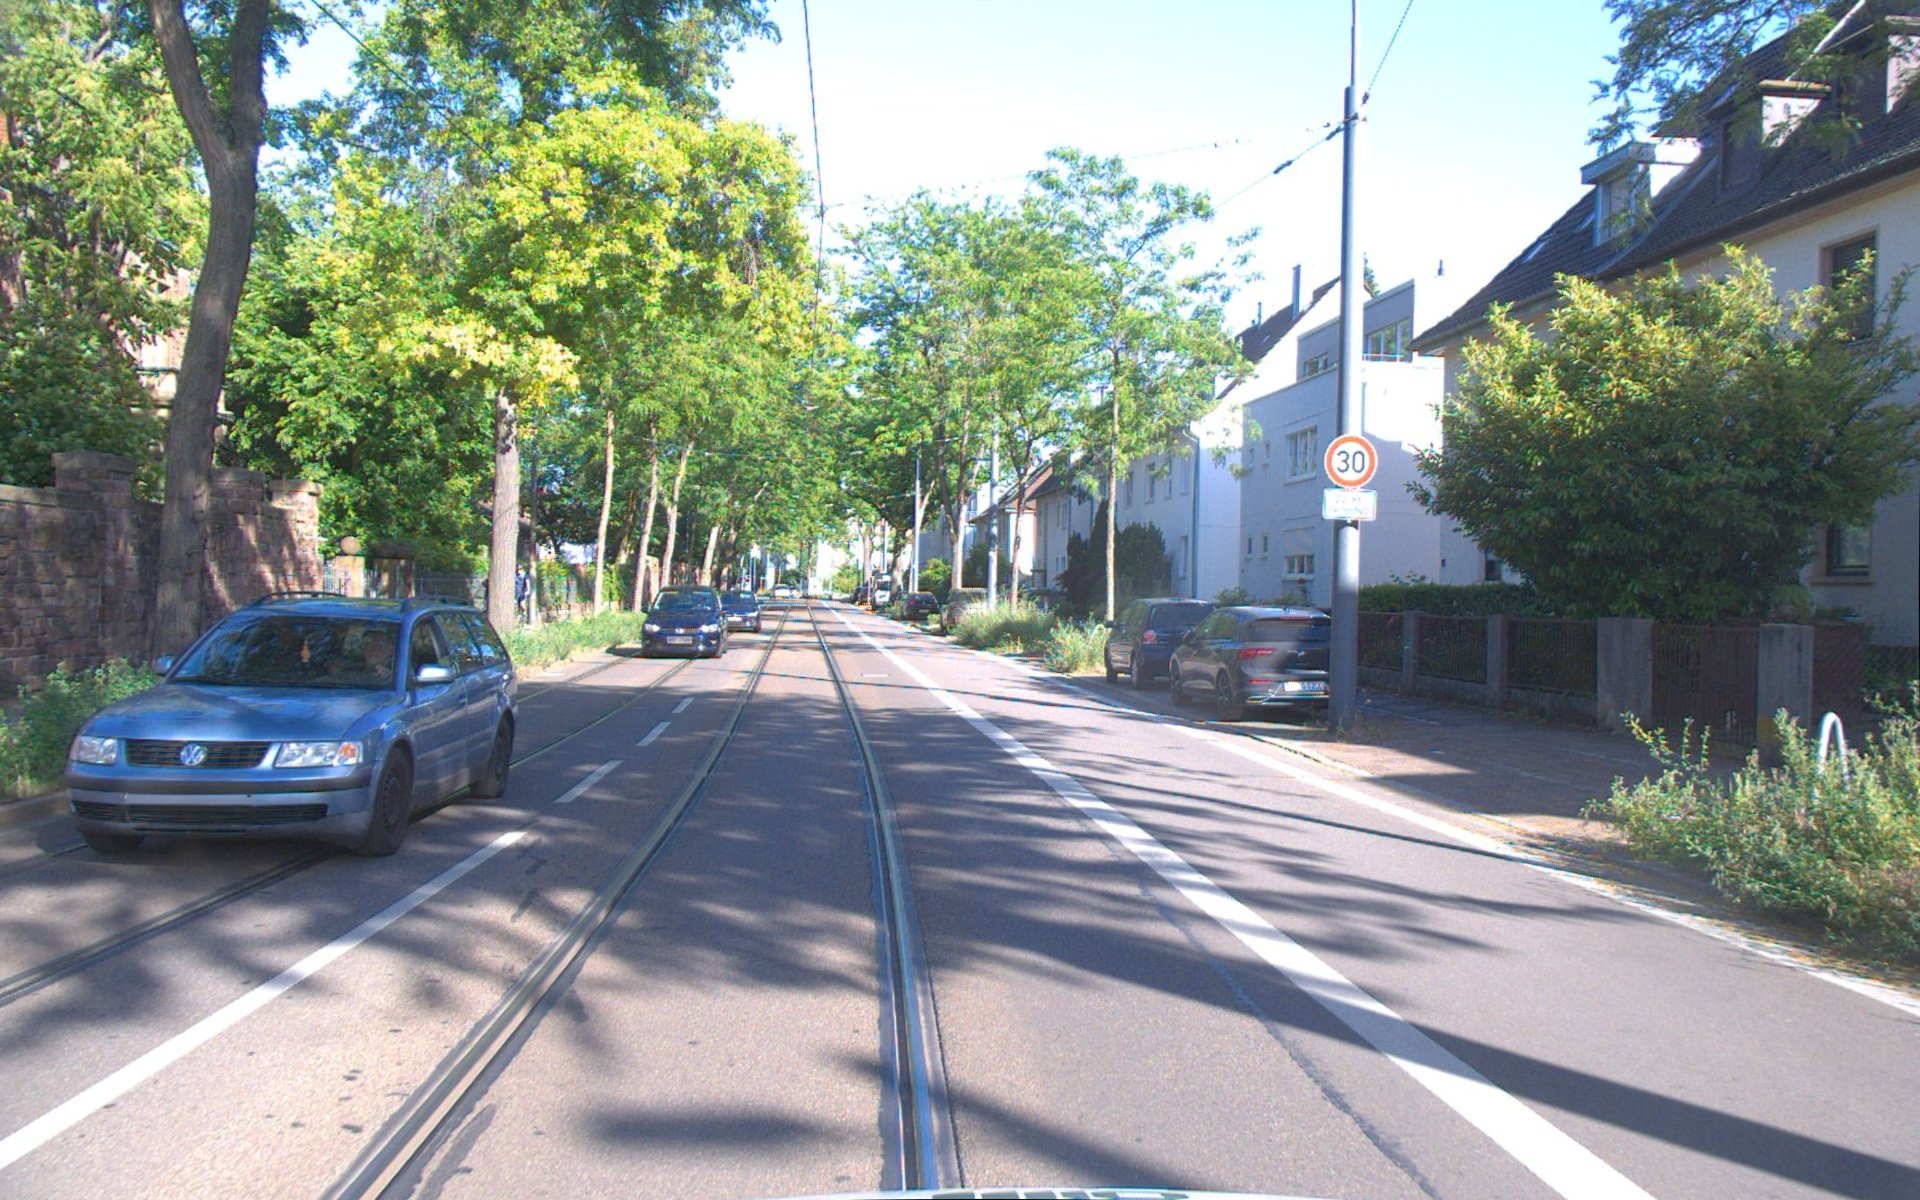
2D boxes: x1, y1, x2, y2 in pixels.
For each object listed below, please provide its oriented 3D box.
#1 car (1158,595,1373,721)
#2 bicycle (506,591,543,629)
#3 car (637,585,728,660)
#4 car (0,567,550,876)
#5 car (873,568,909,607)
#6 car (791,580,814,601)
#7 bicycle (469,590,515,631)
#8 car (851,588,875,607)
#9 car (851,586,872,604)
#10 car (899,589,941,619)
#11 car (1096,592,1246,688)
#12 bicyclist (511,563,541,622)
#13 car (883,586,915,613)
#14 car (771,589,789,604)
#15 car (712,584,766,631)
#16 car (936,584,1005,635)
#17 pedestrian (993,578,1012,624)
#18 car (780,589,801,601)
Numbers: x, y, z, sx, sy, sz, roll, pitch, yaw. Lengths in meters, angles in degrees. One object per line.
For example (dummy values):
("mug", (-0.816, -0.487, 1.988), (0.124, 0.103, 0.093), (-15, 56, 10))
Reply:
("car", (4.021, 0.703, 22.522), (1.714, 1.521, 4.438), (0, 0, -6))
("bicycle", (-11.655, 0.263, 44.329), (0.578, 0.977, 2.130), (1, 0, -5))
("car", (-6.201, 0.469, 37.302), (1.714, 1.551, 4.031), (1, 0, -6))
("car", (-4.164, 0.620, 10.799), (1.953, 1.551, 4.577), (1, 0, -2))
("car", (-4.935, -0.909, 117.992), (2.202, 2.700, 5.578), (-1, 0, -6))
("car", (-19.301, -1.201, 202.446), (1.963, 2.501, 4.485), (0, 0, -18))
("bicycle", (-11.648, 0.250, 41.241), (0.697, 0.977, 2.092), (1, 0, -5))
("car", (-8.798, -0.234, 149.716), (1.964, 1.704, 4.387), (-1, 0, -6))
("car", (-9.900, -0.516, 167.292), (1.962, 1.704, 4.391), (-1, 0, -2))
("car", (-2.120, 0.184, 87.031), (1.750, 1.473, 4.294), (-2, 1, -7))
("car", (3.534, 0.634, 28.411), (1.714, 1.521, 3.992), (0, 0, -6))
("bicyclist", (-11.648, -0.199, 44.368), (0.582, 1.554, 1.060), (1, 0, -5))
("car", (-3.550, -0.043, 96.547), (1.596, 1.422, 3.641), (-2, 1, -6))
("car", (-21.021, -0.431, 193.279), (1.832, 1.704, 4.164), (0, 0, -9))
("car", (-7.776, 0.238, 58.453), (1.714, 1.551, 4.065), (1, 0, -6))
("car", (0.350, 0.298, 60.623), (1.955, 1.734, 4.471), (-2, 1, -6))
("pedestrian", (1.756, 0.036, 68.469), (0.613, 1.903, 0.731), (-2, 0, -7))
("car", (-22.525, -0.685, 219.939), (1.972, 1.588, 4.370), (0, 0, -18))
